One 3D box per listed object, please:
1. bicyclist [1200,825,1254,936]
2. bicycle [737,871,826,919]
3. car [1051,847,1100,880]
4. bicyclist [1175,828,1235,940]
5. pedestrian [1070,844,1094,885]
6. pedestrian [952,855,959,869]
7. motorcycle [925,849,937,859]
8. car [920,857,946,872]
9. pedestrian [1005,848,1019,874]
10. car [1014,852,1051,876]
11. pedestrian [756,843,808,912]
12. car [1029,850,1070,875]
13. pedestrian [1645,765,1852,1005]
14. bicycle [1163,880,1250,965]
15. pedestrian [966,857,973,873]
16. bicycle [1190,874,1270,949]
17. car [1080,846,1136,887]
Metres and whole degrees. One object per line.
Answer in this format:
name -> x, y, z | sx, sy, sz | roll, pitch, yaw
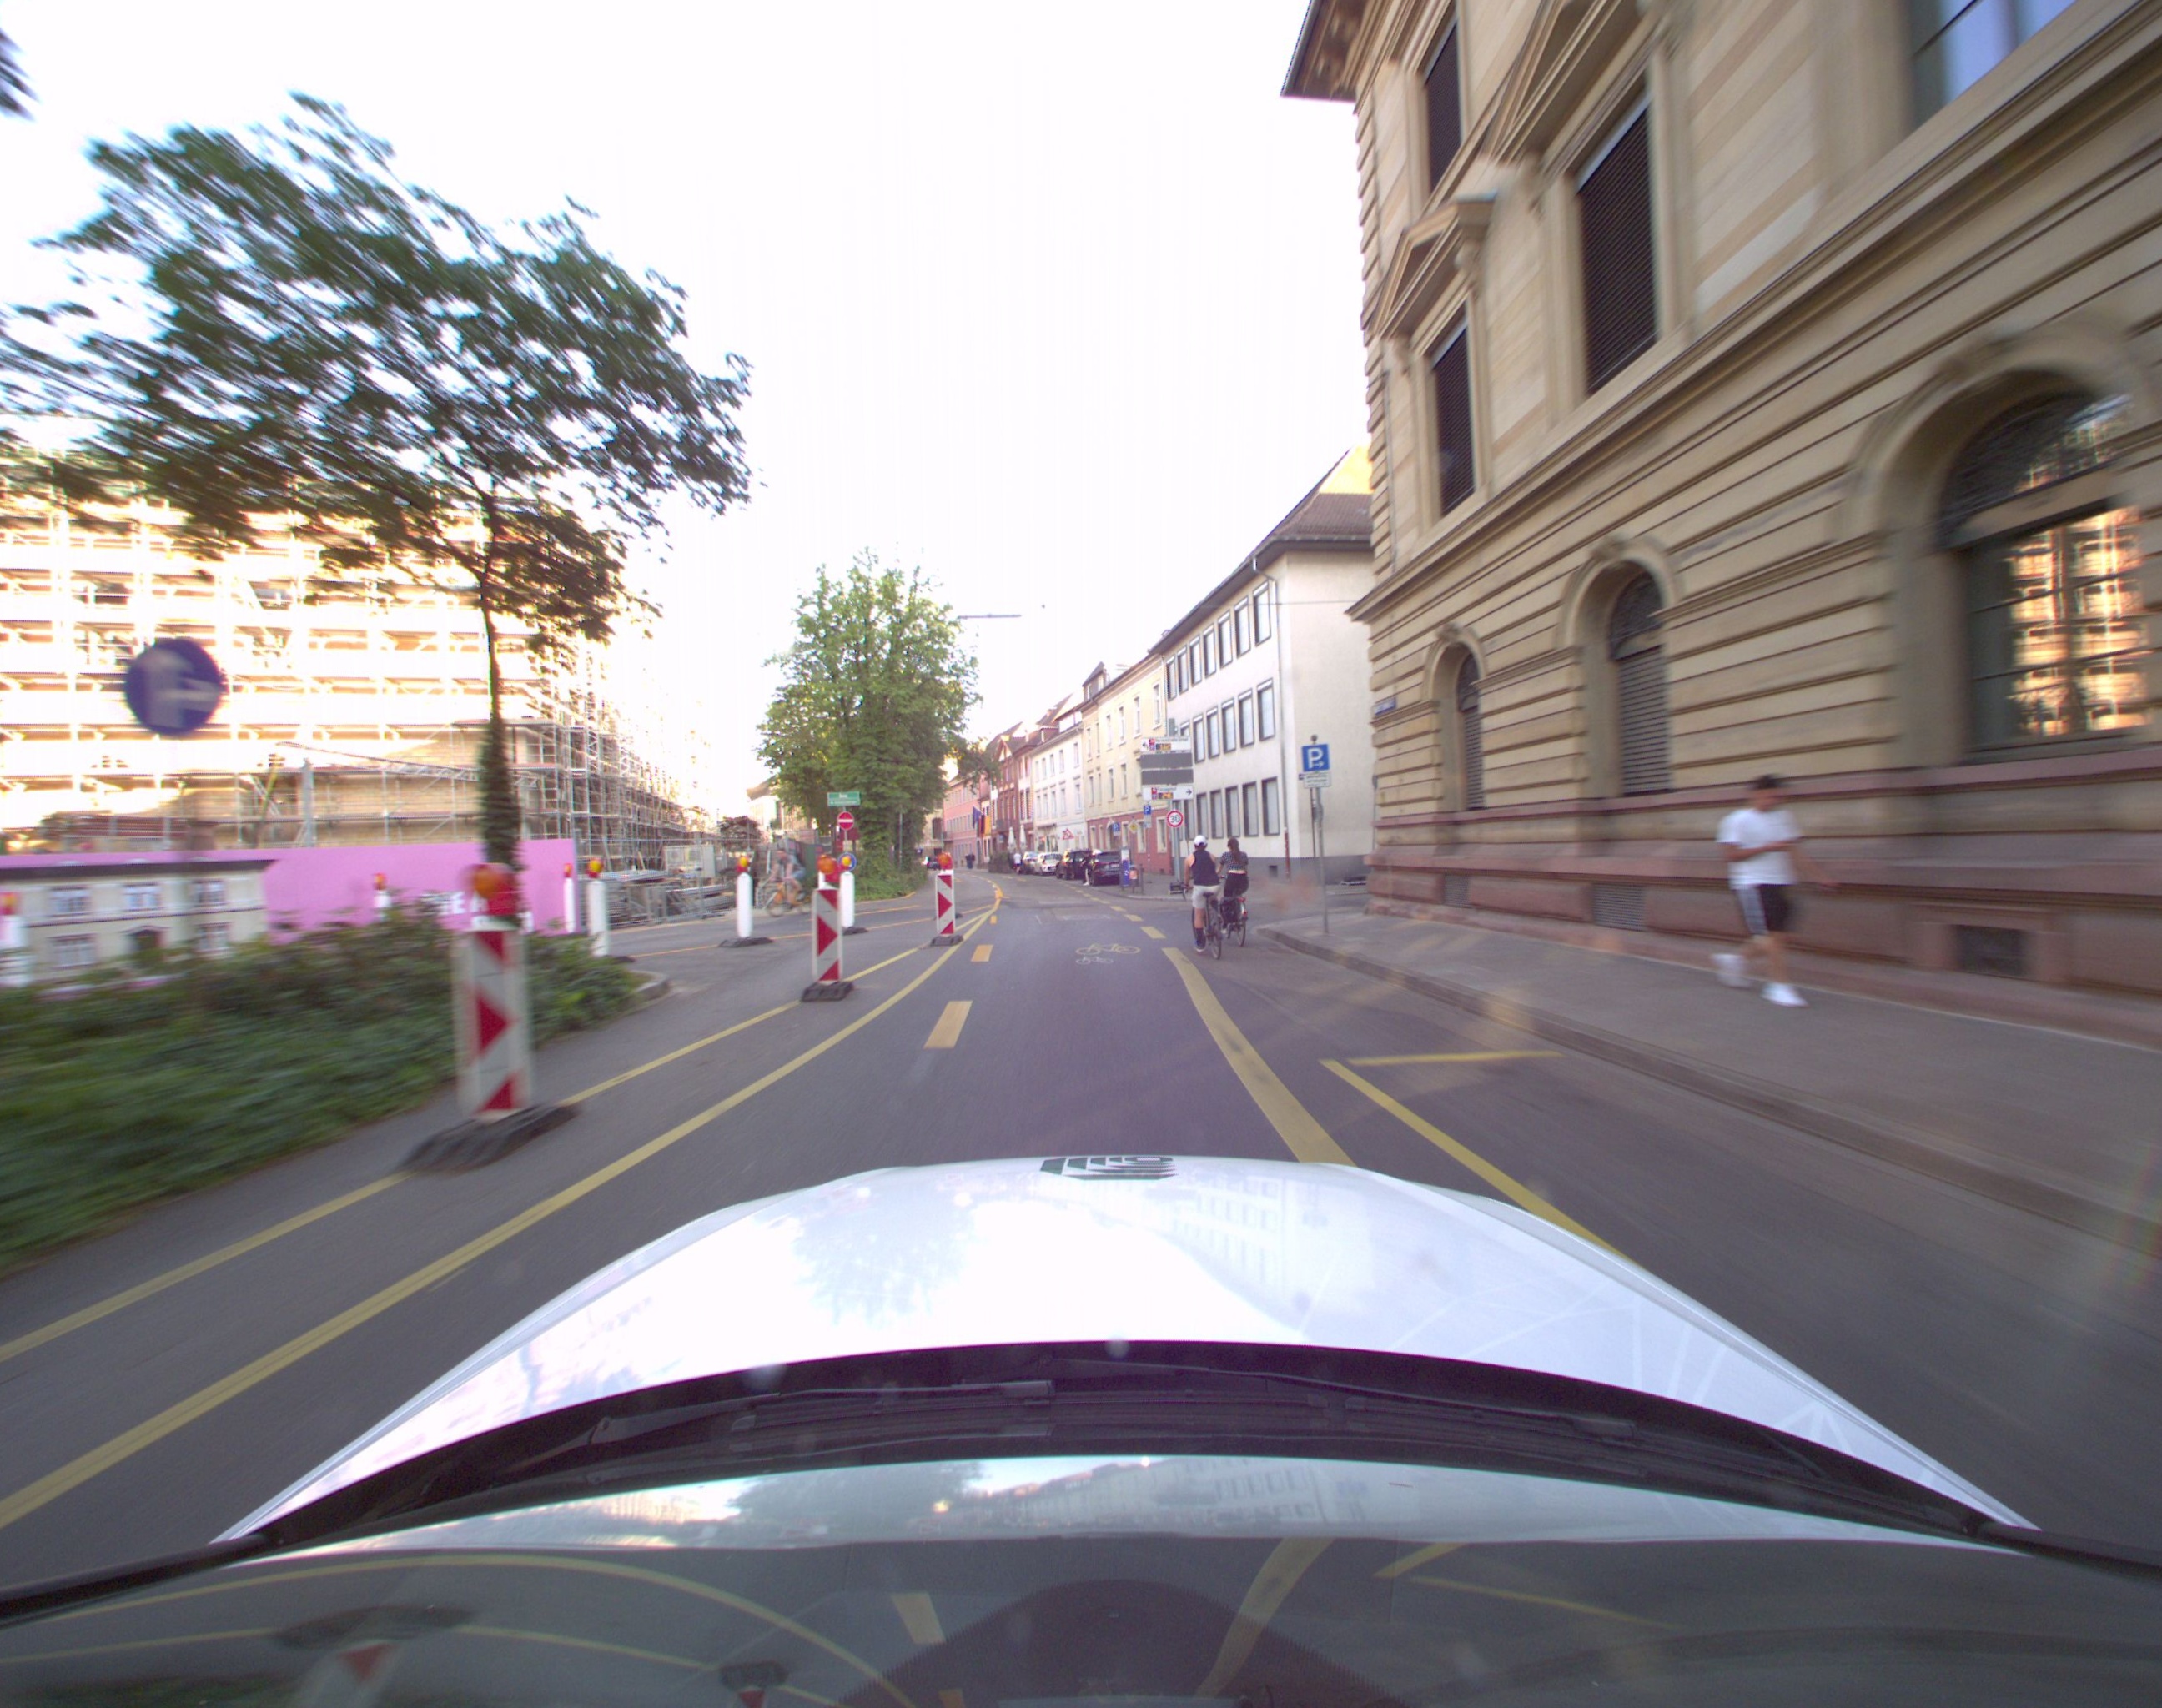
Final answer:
bicyclist -> 2.394, 0.414, 13.395 | 0.649, 1.760, 0.862 | 0, 0, -7
bicycle -> -7.462, 1.000, 20.396 | 0.753, 1.037, 2.133 | -2, 0, 26
car -> -0.350, 0.527, 45.298 | 1.815, 1.684, 3.982 | -2, 0, -13
bicyclist -> 1.786, 0.423, 11.803 | 0.669, 1.566, 0.696 | 0, 0, -10
pedestrian -> 0.035, 0.480, 38.124 | 0.900, 1.865, 0.929 | -2, 0, -9
pedestrian -> -14.566, 0.959, 94.838 | 0.669, 1.581, 0.582 | -2, 0, -17
motorcycle -> -18.612, 0.025, 100.959 | 1.044, 1.248, 2.382 | -2, 0, -19
car -> -16.152, 1.134, 88.891 | 1.821, 1.560, 3.833 | -2, 0, -25
pedestrian -> -4.911, 0.504, 57.887 | 0.828, 1.844, 0.958 | -1, 1, 1
car -> -3.452, 0.683, 57.400 | 1.815, 1.560, 3.845 | -2, 0, -15
pedestrian -> -7.486, 0.570, 20.398 | 0.728, 1.674, 0.901 | -2, 0, 26
car -> -2.099, 0.542, 53.286 | 1.815, 1.560, 3.845 | -2, 0, -15
pedestrian -> 5.300, 0.224, 6.546 | 0.814, 1.765, 1.038 | -1, 1, 1
bicycle -> 1.781, 0.945, 11.871 | 0.669, 1.071, 1.895 | -1, 0, -10
pedestrian -> -12.816, 1.227, 93.531 | 0.752, 1.762, 0.582 | -2, 0, -17
bicycle -> 2.399, 0.888, 13.379 | 0.652, 1.071, 2.252 | 0, 0, -7
car -> 1.162, 0.539, 37.367 | 1.812, 1.682, 3.907 | -2, 0, -9
